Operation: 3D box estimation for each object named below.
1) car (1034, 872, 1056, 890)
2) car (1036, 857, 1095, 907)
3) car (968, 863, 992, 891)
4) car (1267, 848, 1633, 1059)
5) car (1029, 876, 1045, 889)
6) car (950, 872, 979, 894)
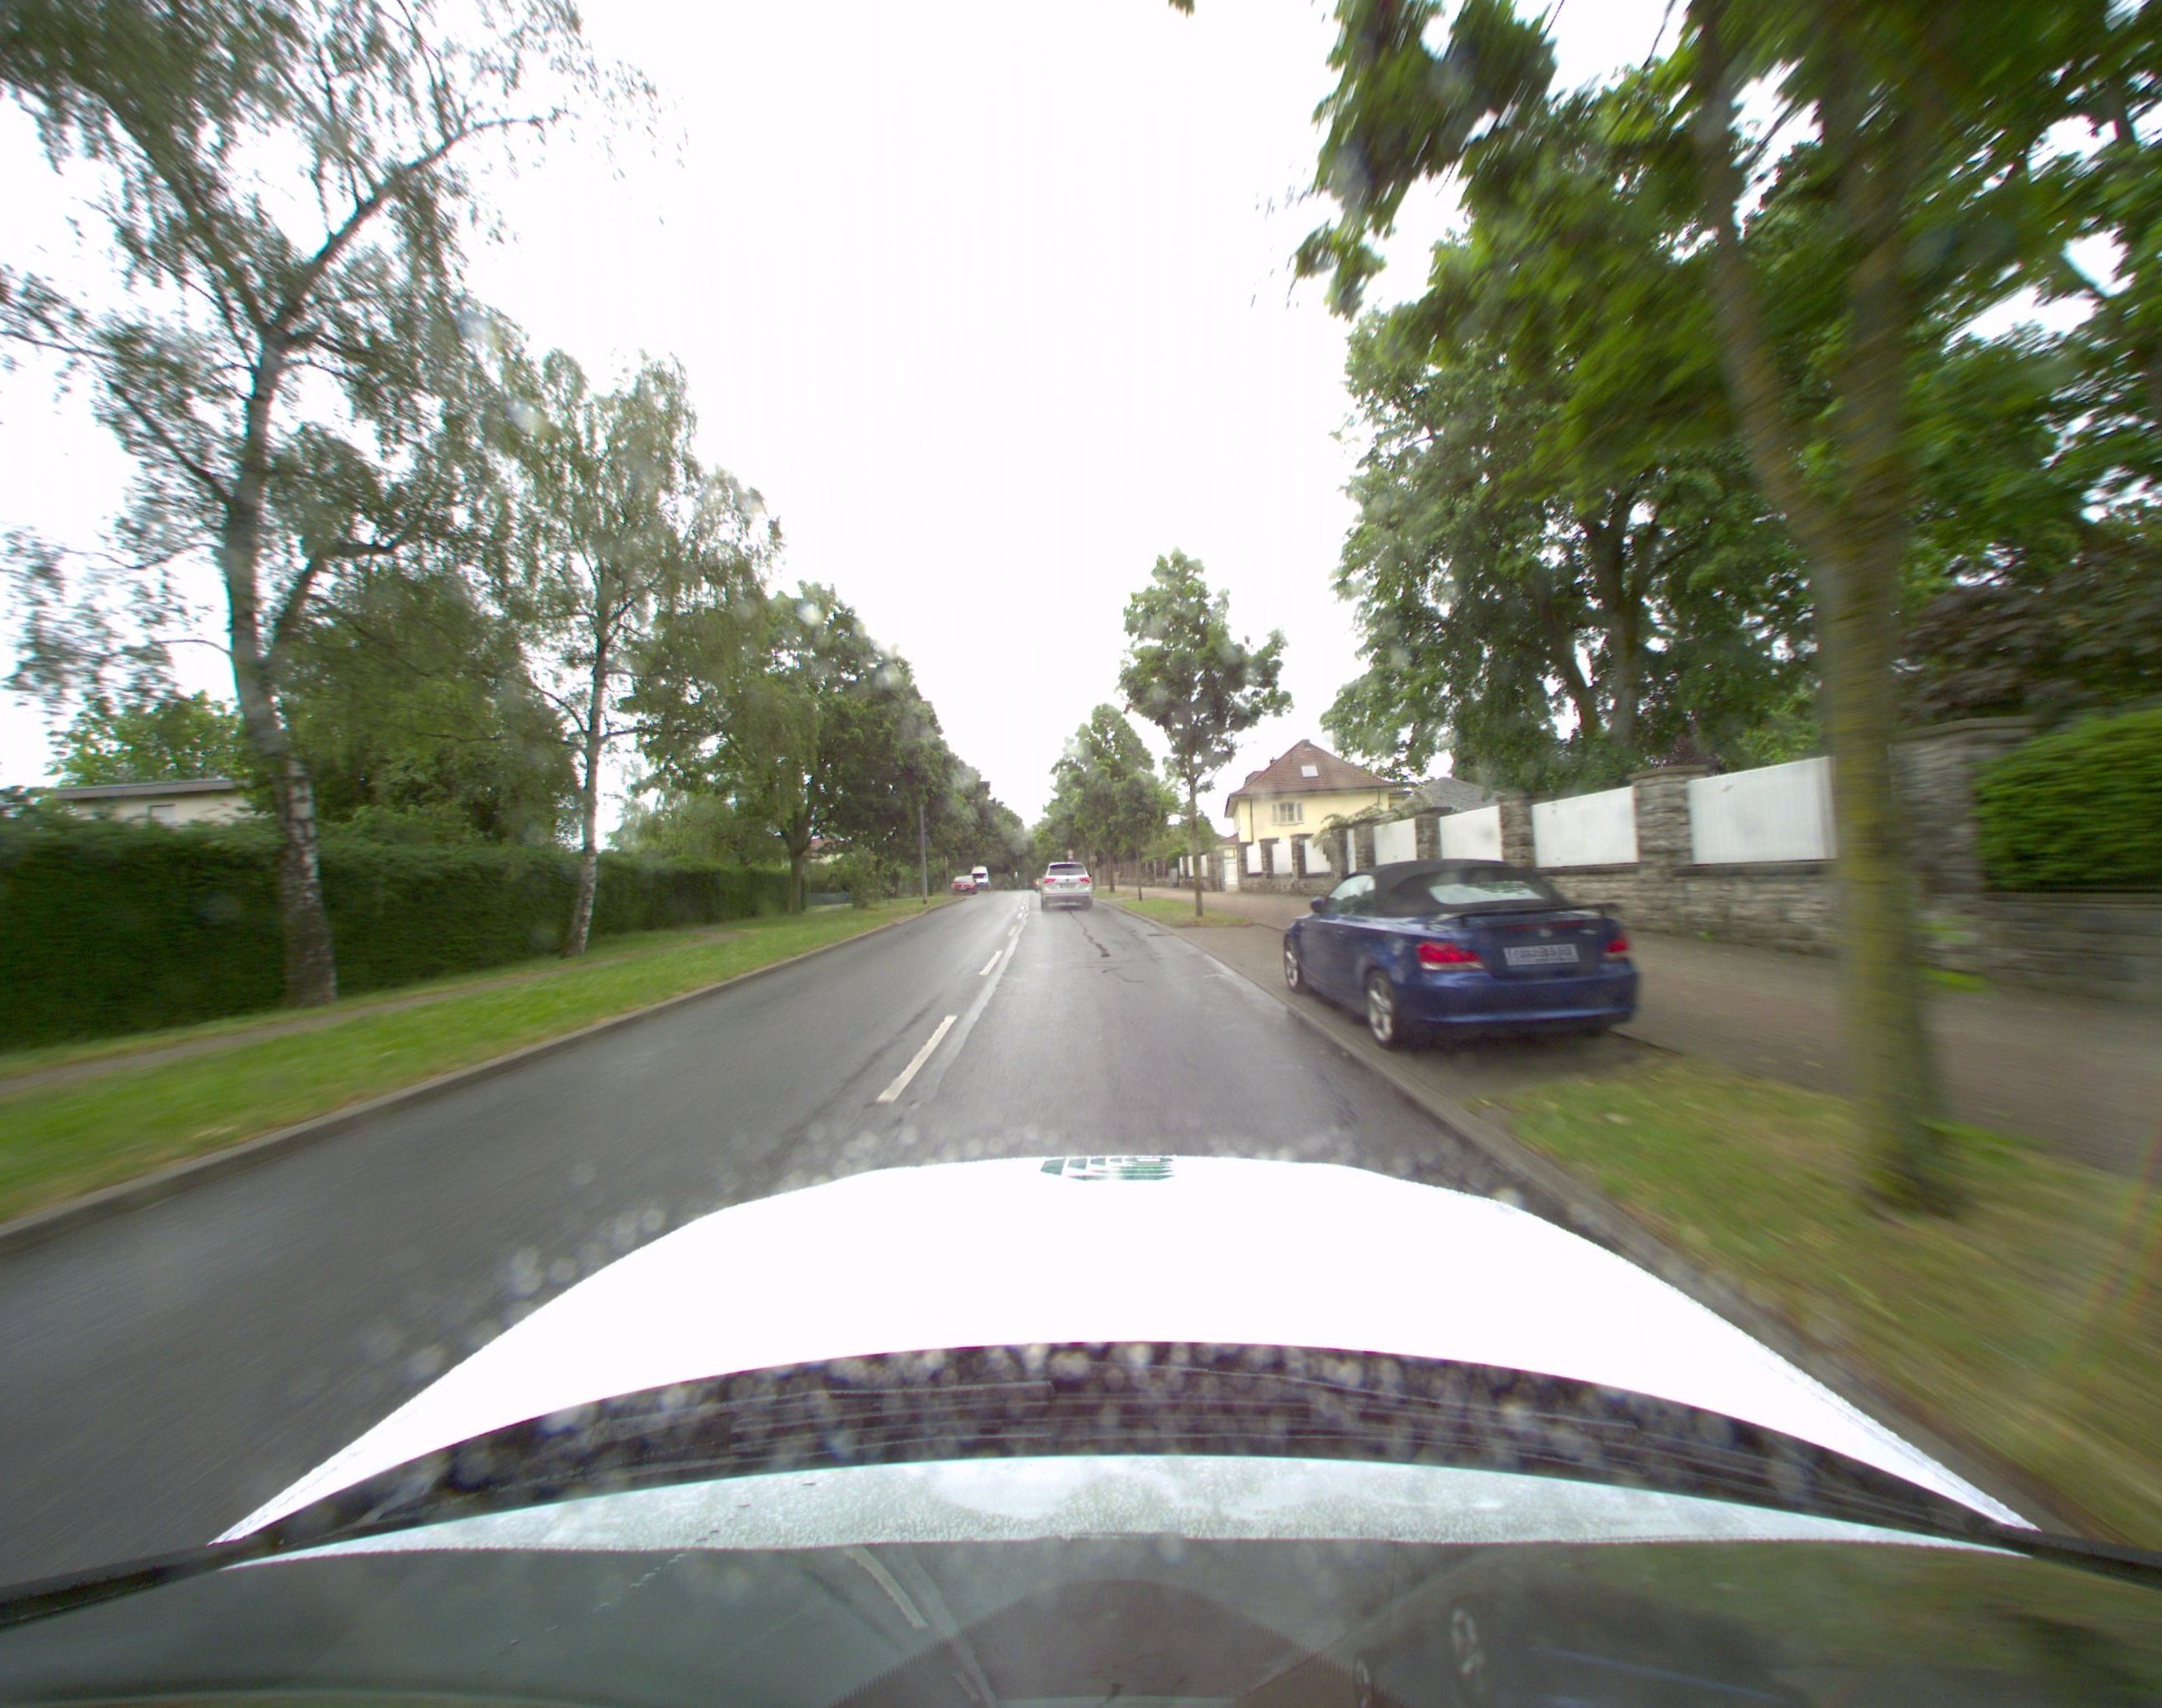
[{"bbox_3d":[-3.099,2.347,71.162,1.836,1.487,3.996,-1,0,-2],"label":"car"},{"bbox_3d":[-0.609,0.971,29.899,1.992,1.632,3.996,-1,0,-3],"label":"car"},{"bbox_3d":[-9.772,2.272,79.139,1.990,2.561,5.223,-2,-2,-4],"label":"car"},{"bbox_3d":[3.052,0.737,7.684,1.636,1.377,3.828,-4,-1,0],"label":"car"},{"bbox_3d":[-5.384,3.448,99.945,1.847,1.418,4.222,-1,0,-2],"label":"car"},{"bbox_3d":[-8.503,2.135,59.690,1.840,1.466,4.242,-2,-2,-5],"label":"car"}]
